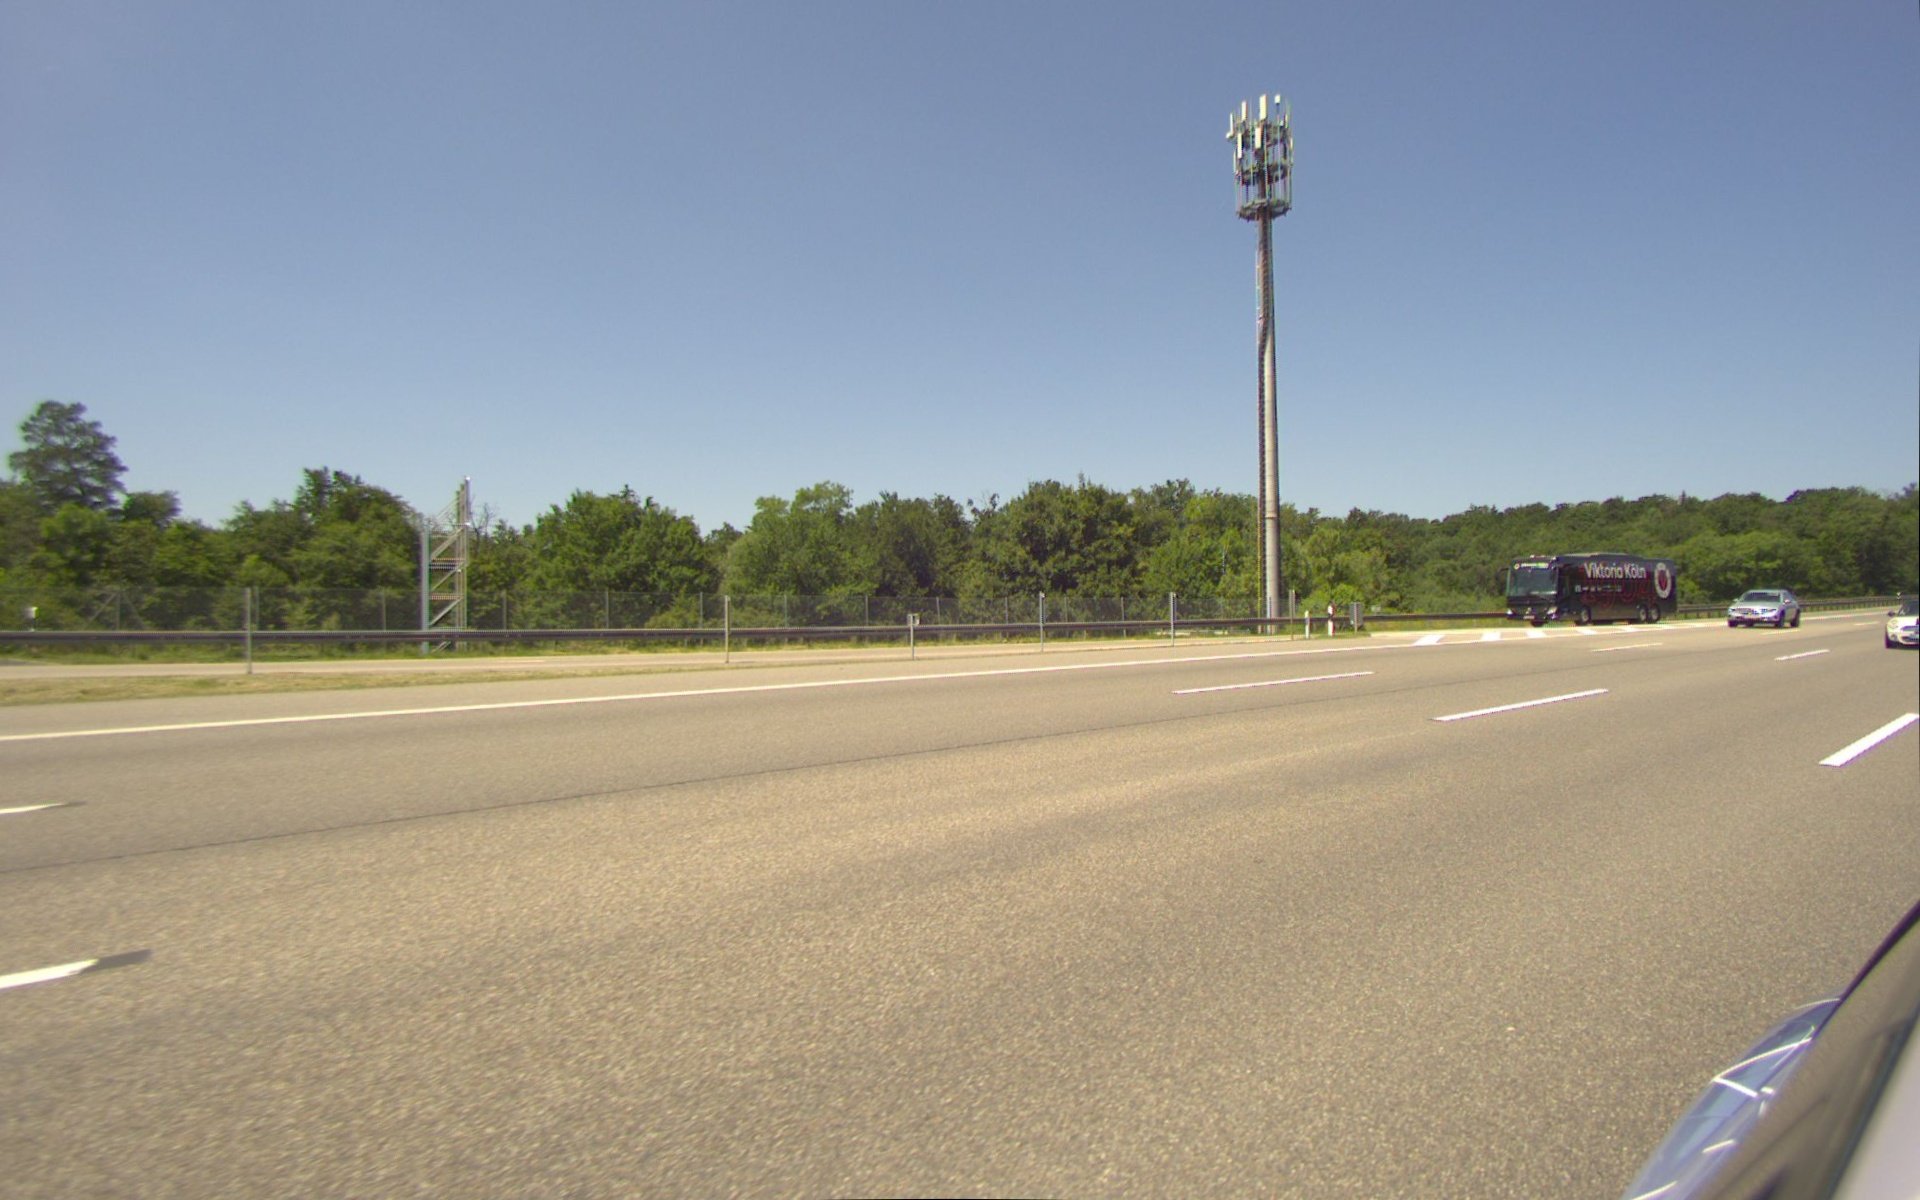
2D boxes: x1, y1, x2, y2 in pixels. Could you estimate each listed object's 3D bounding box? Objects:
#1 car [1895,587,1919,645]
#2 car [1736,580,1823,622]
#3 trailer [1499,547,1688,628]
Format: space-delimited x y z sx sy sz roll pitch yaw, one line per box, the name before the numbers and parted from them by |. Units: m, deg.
car | 27.780 0.401 28.309 3.929 1.572 1.845 -1 0 -39
car | 35.780 0.058 44.131 5.142 1.753 1.805 0 -1 -38
trailer | 32.663 -0.711 51.792 13.281 3.734 2.868 -1 0 -33
